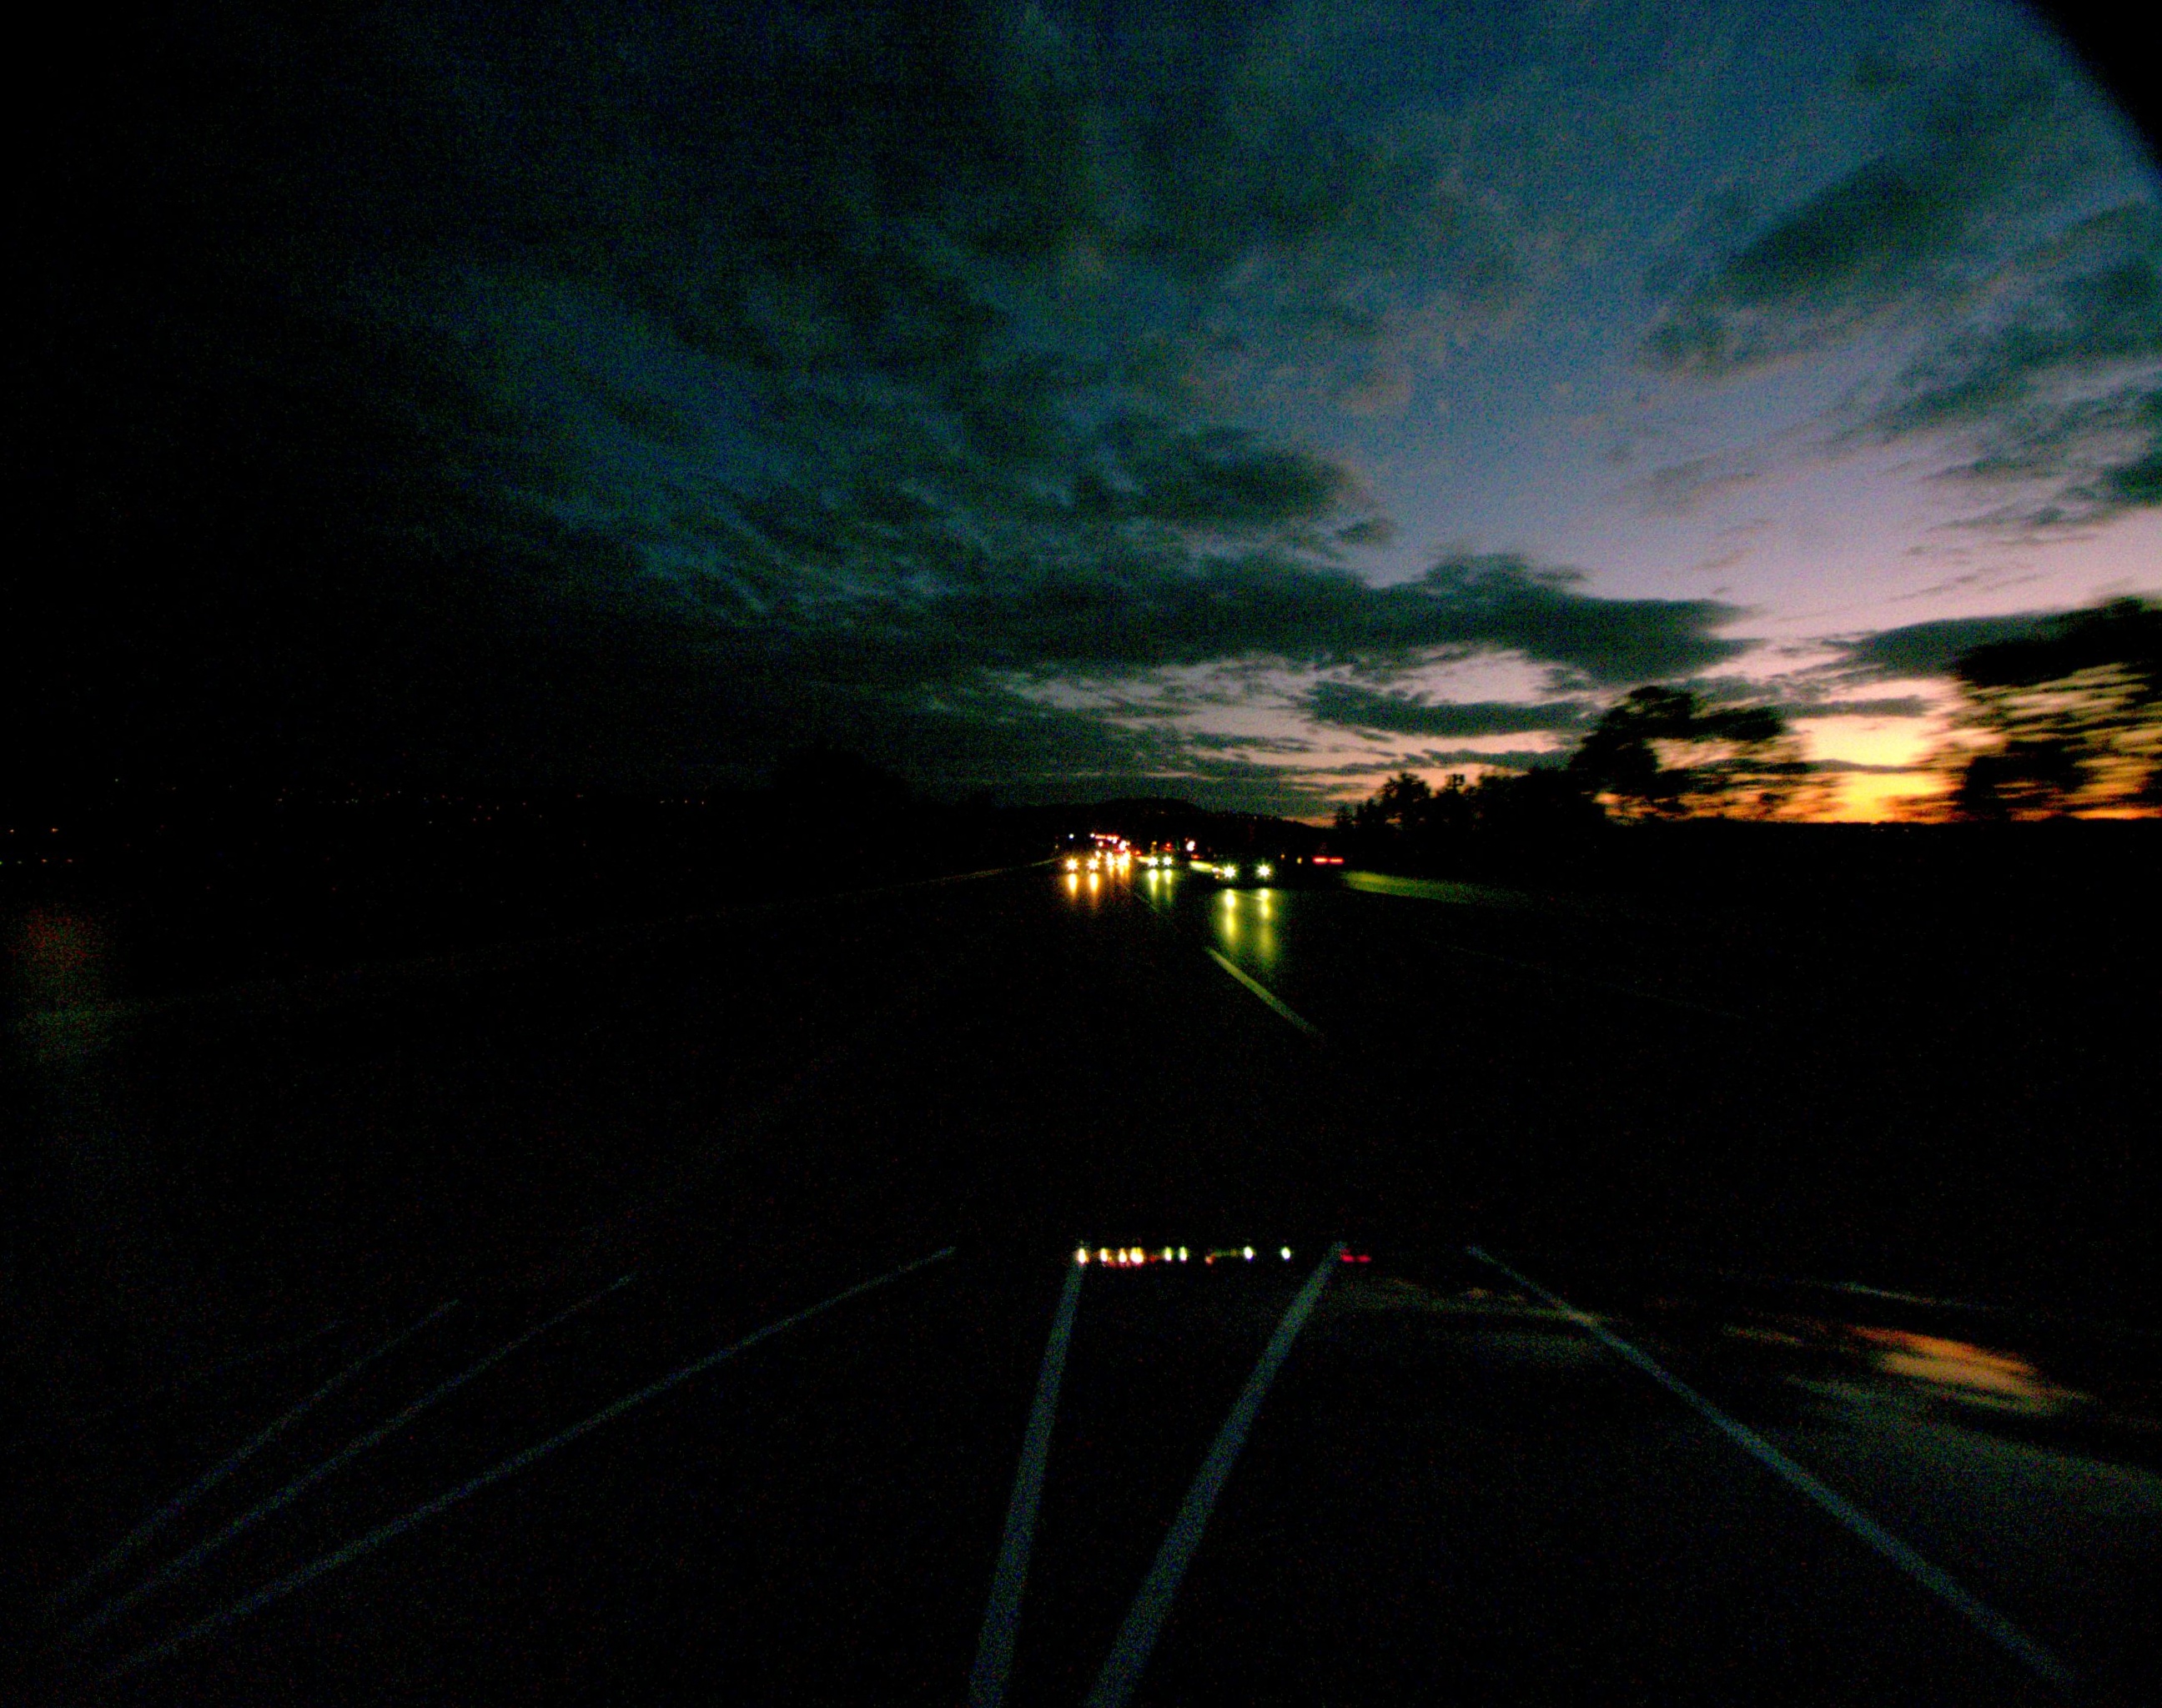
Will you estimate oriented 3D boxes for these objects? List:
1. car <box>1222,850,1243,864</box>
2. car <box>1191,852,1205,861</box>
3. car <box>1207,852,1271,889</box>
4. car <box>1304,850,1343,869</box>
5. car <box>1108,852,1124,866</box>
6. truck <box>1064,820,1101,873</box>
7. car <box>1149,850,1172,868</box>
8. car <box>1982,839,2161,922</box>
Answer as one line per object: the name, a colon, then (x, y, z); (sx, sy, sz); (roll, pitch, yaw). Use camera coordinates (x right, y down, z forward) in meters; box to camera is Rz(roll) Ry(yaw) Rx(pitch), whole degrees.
car: (18.279, 0.396, 91.617); (1.737, 1.537, 3.999); (-2, 1, 0)
car: (20.420, 0.440, 132.415); (1.748, 1.354, 4.111); (-2, 1, 0)
car: (7.254, 0.711, 35.349); (1.819, 1.429, 5.394); (-2, 1, 0)
car: (20.209, 0.415, 63.444); (1.864, 1.445, 4.274); (-2, 1, 1)
car: (4.486, 0.613, 96.901); (1.802, 1.531, 4.159); (-2, 1, 1)
truck: (0.198, -0.653, 73.092); (3.012, 4.570, 12.578); (-2, 0, 1)
car: (8.051, 0.508, 77.179); (1.819, 1.638, 4.856); (-2, 1, 0)
car: (22.938, 0.536, 16.263); (1.664, 1.634, 4.793); (-2, 1, 1)
